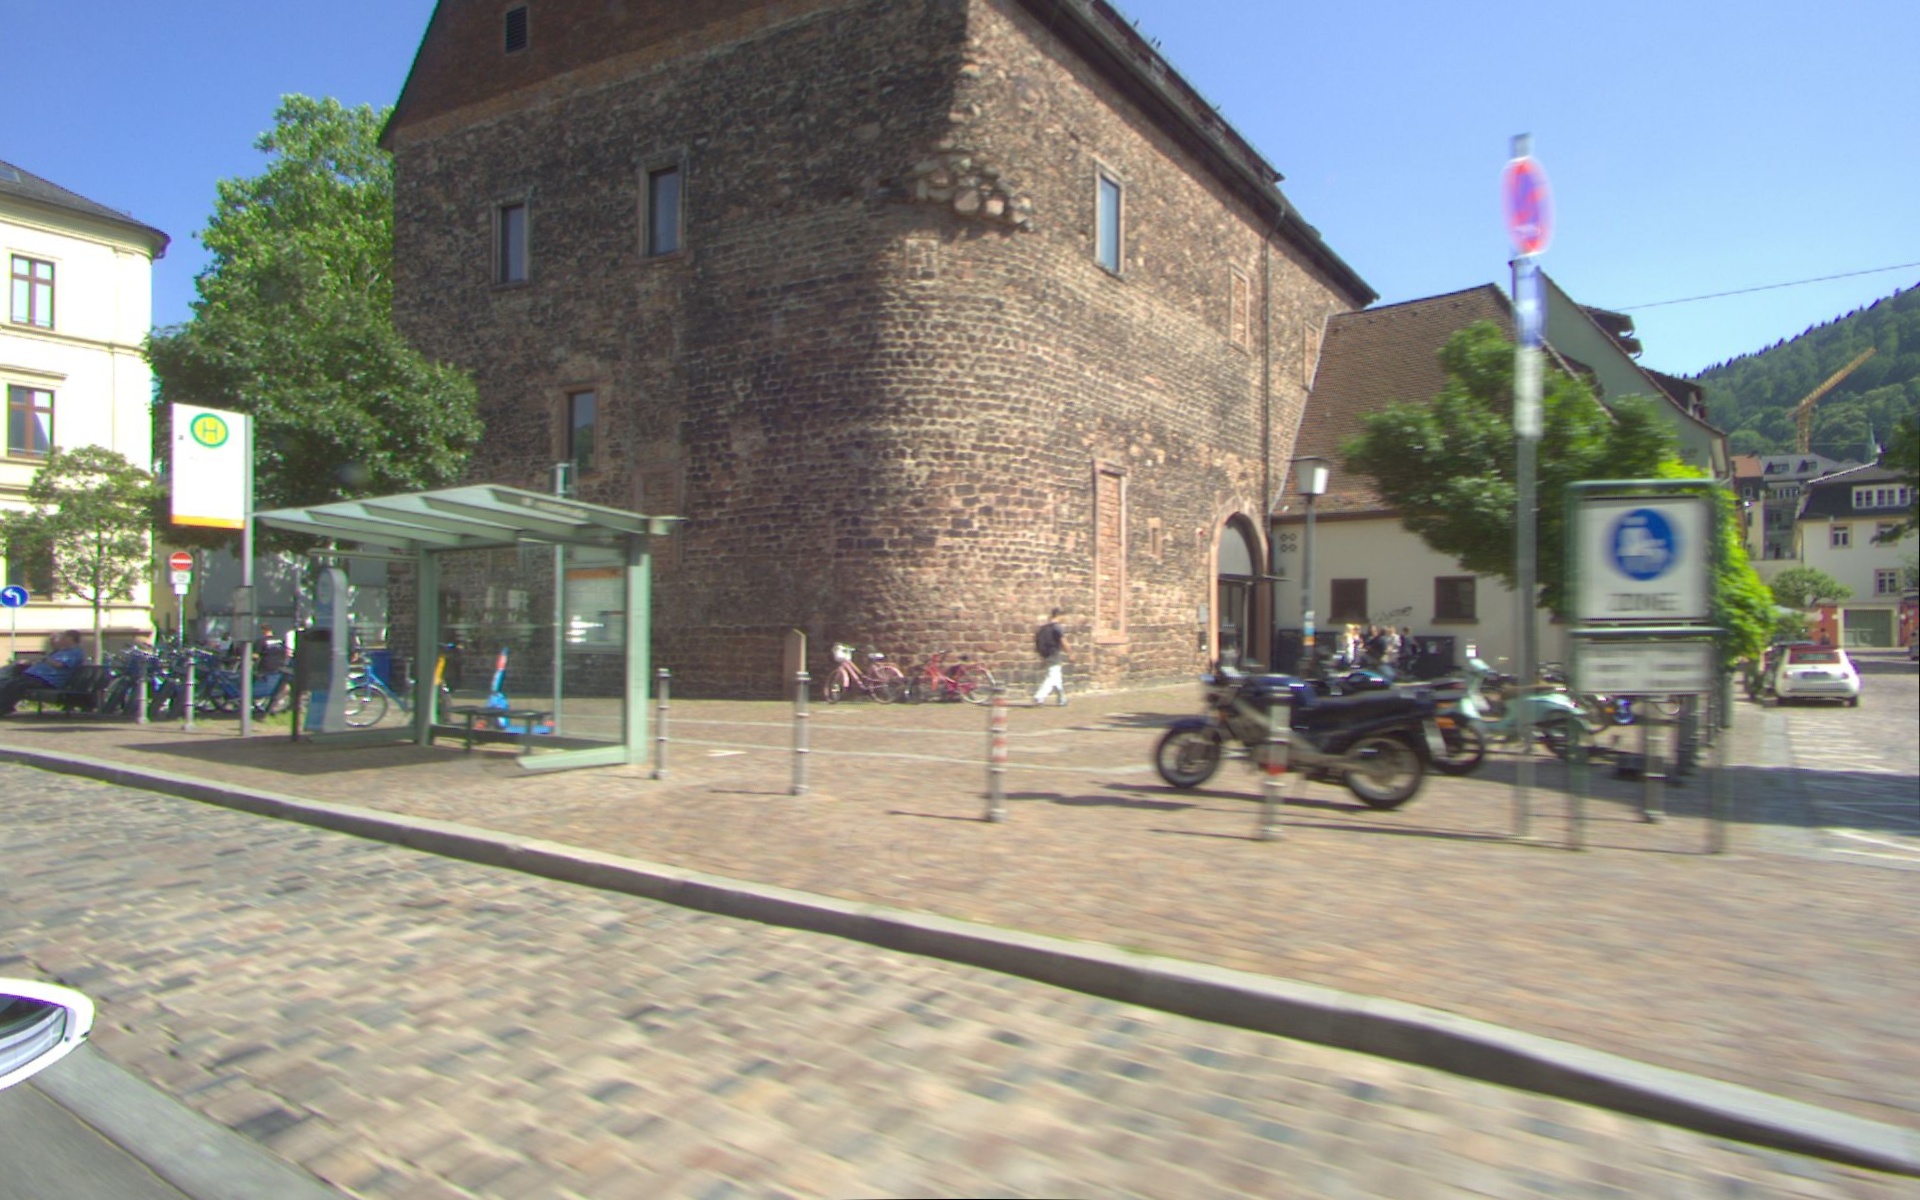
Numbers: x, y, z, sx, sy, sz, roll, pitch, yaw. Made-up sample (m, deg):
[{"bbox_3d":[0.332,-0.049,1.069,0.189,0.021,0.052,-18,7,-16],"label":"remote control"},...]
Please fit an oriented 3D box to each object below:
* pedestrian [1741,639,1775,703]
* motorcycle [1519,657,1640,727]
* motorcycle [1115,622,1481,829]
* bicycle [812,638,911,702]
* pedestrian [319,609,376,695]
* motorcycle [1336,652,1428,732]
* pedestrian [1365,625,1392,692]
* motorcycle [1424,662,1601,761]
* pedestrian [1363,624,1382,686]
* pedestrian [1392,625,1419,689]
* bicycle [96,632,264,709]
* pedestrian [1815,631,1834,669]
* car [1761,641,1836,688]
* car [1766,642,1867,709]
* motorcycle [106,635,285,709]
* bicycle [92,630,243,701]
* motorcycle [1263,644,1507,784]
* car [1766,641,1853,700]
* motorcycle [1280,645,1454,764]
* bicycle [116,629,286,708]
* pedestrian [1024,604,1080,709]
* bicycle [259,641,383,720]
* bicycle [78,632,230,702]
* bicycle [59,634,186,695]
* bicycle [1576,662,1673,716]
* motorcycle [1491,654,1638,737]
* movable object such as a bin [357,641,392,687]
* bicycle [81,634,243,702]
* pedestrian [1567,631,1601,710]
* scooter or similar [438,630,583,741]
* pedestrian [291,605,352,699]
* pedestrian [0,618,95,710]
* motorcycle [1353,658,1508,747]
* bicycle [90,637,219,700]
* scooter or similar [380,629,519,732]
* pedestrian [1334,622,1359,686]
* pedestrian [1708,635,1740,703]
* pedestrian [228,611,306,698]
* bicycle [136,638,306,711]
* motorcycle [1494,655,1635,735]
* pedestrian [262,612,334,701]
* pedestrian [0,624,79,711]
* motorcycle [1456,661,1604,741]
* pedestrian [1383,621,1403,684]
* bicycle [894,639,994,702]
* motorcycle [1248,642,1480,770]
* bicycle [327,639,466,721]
[{"bbox_3d":[21.019,1.861,26.392,0.665,1.651,0.657,0,-1,37],"label":"pedestrian"},{"bbox_3d":[11.792,1.735,19.125,1.887,1.175,0.597,2,0,27],"label":"motorcycle"},{"bbox_3d":[2.518,0.861,7.580,2.489,1.309,0.883,1,-2,29],"label":"motorcycle"},{"bbox_3d":[-1.907,1.336,19.393,1.895,1.175,0.525,0,-1,23],"label":"bicycle"},{"bbox_3d":[-14.158,1.193,23.163,0.775,1.966,0.805,0,-1,5],"label":"pedestrian"},{"bbox_3d":[6.776,1.423,15.992,0.866,1.161,2.331,-1,-3,35],"label":"motorcycle"},{"bbox_3d":[10.664,1.483,25.525,0.574,1.688,0.531,0,-1,32],"label":"pedestrian"},{"bbox_3d":[6.873,1.356,12.536,1.876,1.108,0.874,-1,-2,29],"label":"motorcycle"},{"bbox_3d":[11.293,1.505,27.422,0.445,1.688,0.358,0,-1,32],"label":"pedestrian"},{"bbox_3d":[11.752,1.489,26.407,0.580,1.665,0.420,0,-1,32],"label":"pedestrian"},{"bbox_3d":[-13.183,1.185,17.006,0.765,1.213,2.078,1,-2,31],"label":"bicycle"},{"bbox_3d":[41.032,2.378,47.530,0.655,1.763,0.705,0,-1,44],"label":"pedestrian"},{"bbox_3d":[28.647,2.163,34.301,1.778,1.423,4.114,-3,-2,38],"label":"car"},{"bbox_3d":[22.454,1.927,26.372,1.778,1.549,4.114,-3,-2,38],"label":"car"},{"bbox_3d":[-12.560,1.168,16.543,0.765,1.117,2.202,1,-3,31],"label":"motorcycle"},{"bbox_3d":[-14.394,1.183,18.269,0.519,1.213,2.078,1,-2,31],"label":"bicycle"},{"bbox_3d":[4.192,1.074,9.963,2.183,1.252,0.657,-1,-2,29],"label":"motorcycle"},{"bbox_3d":[25.344,2.056,29.986,1.778,1.549,4.114,-3,-2,38],"label":"car"},{"bbox_3d":[4.751,1.179,11.738,1.782,1.247,0.668,1,-2,35],"label":"motorcycle"},{"bbox_3d":[-12.527,1.124,16.597,0.765,1.213,2.078,1,-2,31],"label":"bicycle"},{"bbox_3d":[1.697,1.026,18.412,0.750,1.869,0.794,0,-1,32],"label":"pedestrian"},{"bbox_3d":[-10.342,1.278,16.254,0.716,1.213,1.542,-1,-2,38],"label":"bicycle"},{"bbox_3d":[-14.899,1.242,18.582,0.599,1.213,2.078,1,-2,31],"label":"bicycle"},{"bbox_3d":[-16.349,1.259,19.586,0.555,1.124,1.791,1,-2,31],"label":"bicycle"},{"bbox_3d":[14.466,1.925,21.851,1.687,1.027,0.421,2,0,27],"label":"bicycle"},{"bbox_3d":[9.945,1.539,16.555,0.591,1.252,2.035,1,-2,-32],"label":"motorcycle"},{"bbox_3d":[-15.099,1.642,25.834,0.741,1.138,0.488,-1,-2,33],"label":"movable object such as a bin"},{"bbox_3d":[-13.788,1.166,17.377,0.595,1.099,2.078,1,-3,31],"label":"bicycle"},{"bbox_3d":[14.227,1.583,22.842,0.598,1.763,0.657,0,-1,37],"label":"pedestrian"},{"bbox_3d":[-5.331,1.002,11.945,0.642,1.230,1.429,0,-4,32],"label":"scooter or similar"},{"bbox_3d":[-13.706,1.103,21.505,0.923,1.985,0.655,0,-1,17],"label":"pedestrian"},{"bbox_3d":[-13.863,0.936,14.972,0.683,1.324,1.246,0,-2,30],"label":"pedestrian"},{"bbox_3d":[6.550,1.397,13.977,1.899,1.095,0.629,1,-1,29],"label":"motorcycle"},{"bbox_3d":[-15.338,1.294,19.110,0.599,1.124,1.791,1,-2,31],"label":"bicycle"},{"bbox_3d":[-6.502,1.018,12.817,0.642,1.230,1.429,0,-4,32],"label":"scooter or similar"},{"bbox_3d":[10.366,1.430,26.866,0.525,1.688,0.580,0,-1,32],"label":"pedestrian"},{"bbox_3d":[20.402,1.821,26.758,0.665,1.763,0.657,0,-1,37],"label":"pedestrian"},{"bbox_3d":[-14.801,1.152,21.405,0.909,1.787,0.990,0,-1,9],"label":"pedestrian"},{"bbox_3d":[-11.858,1.185,16.147,0.789,1.079,2.022,1,-3,31],"label":"bicycle"},{"bbox_3d":[10.304,1.584,17.152,0.591,1.252,2.035,1,-2,-31],"label":"motorcycle"},{"bbox_3d":[-13.514,1.139,20.451,0.892,1.776,0.805,0,-1,13],"label":"pedestrian"},{"bbox_3d":[-14.354,1.027,15.452,0.683,1.298,0.959,0,-2,31],"label":"pedestrian"},{"bbox_3d":[9.057,1.571,15.940,1.993,1.158,0.739,-1,-4,36],"label":"motorcycle"},{"bbox_3d":[11.728,1.420,27.128,0.445,1.688,0.358,0,-1,32],"label":"pedestrian"},{"bbox_3d":[-0.297,1.343,19.270,1.889,1.167,0.548,0,-1,2],"label":"bicycle"},{"bbox_3d":[4.362,1.090,10.907,2.241,1.252,0.737,-1,-2,35],"label":"motorcycle"},{"bbox_3d":[-8.092,1.141,14.408,1.704,1.146,0.548,0,-1,3],"label":"bicycle"}]
